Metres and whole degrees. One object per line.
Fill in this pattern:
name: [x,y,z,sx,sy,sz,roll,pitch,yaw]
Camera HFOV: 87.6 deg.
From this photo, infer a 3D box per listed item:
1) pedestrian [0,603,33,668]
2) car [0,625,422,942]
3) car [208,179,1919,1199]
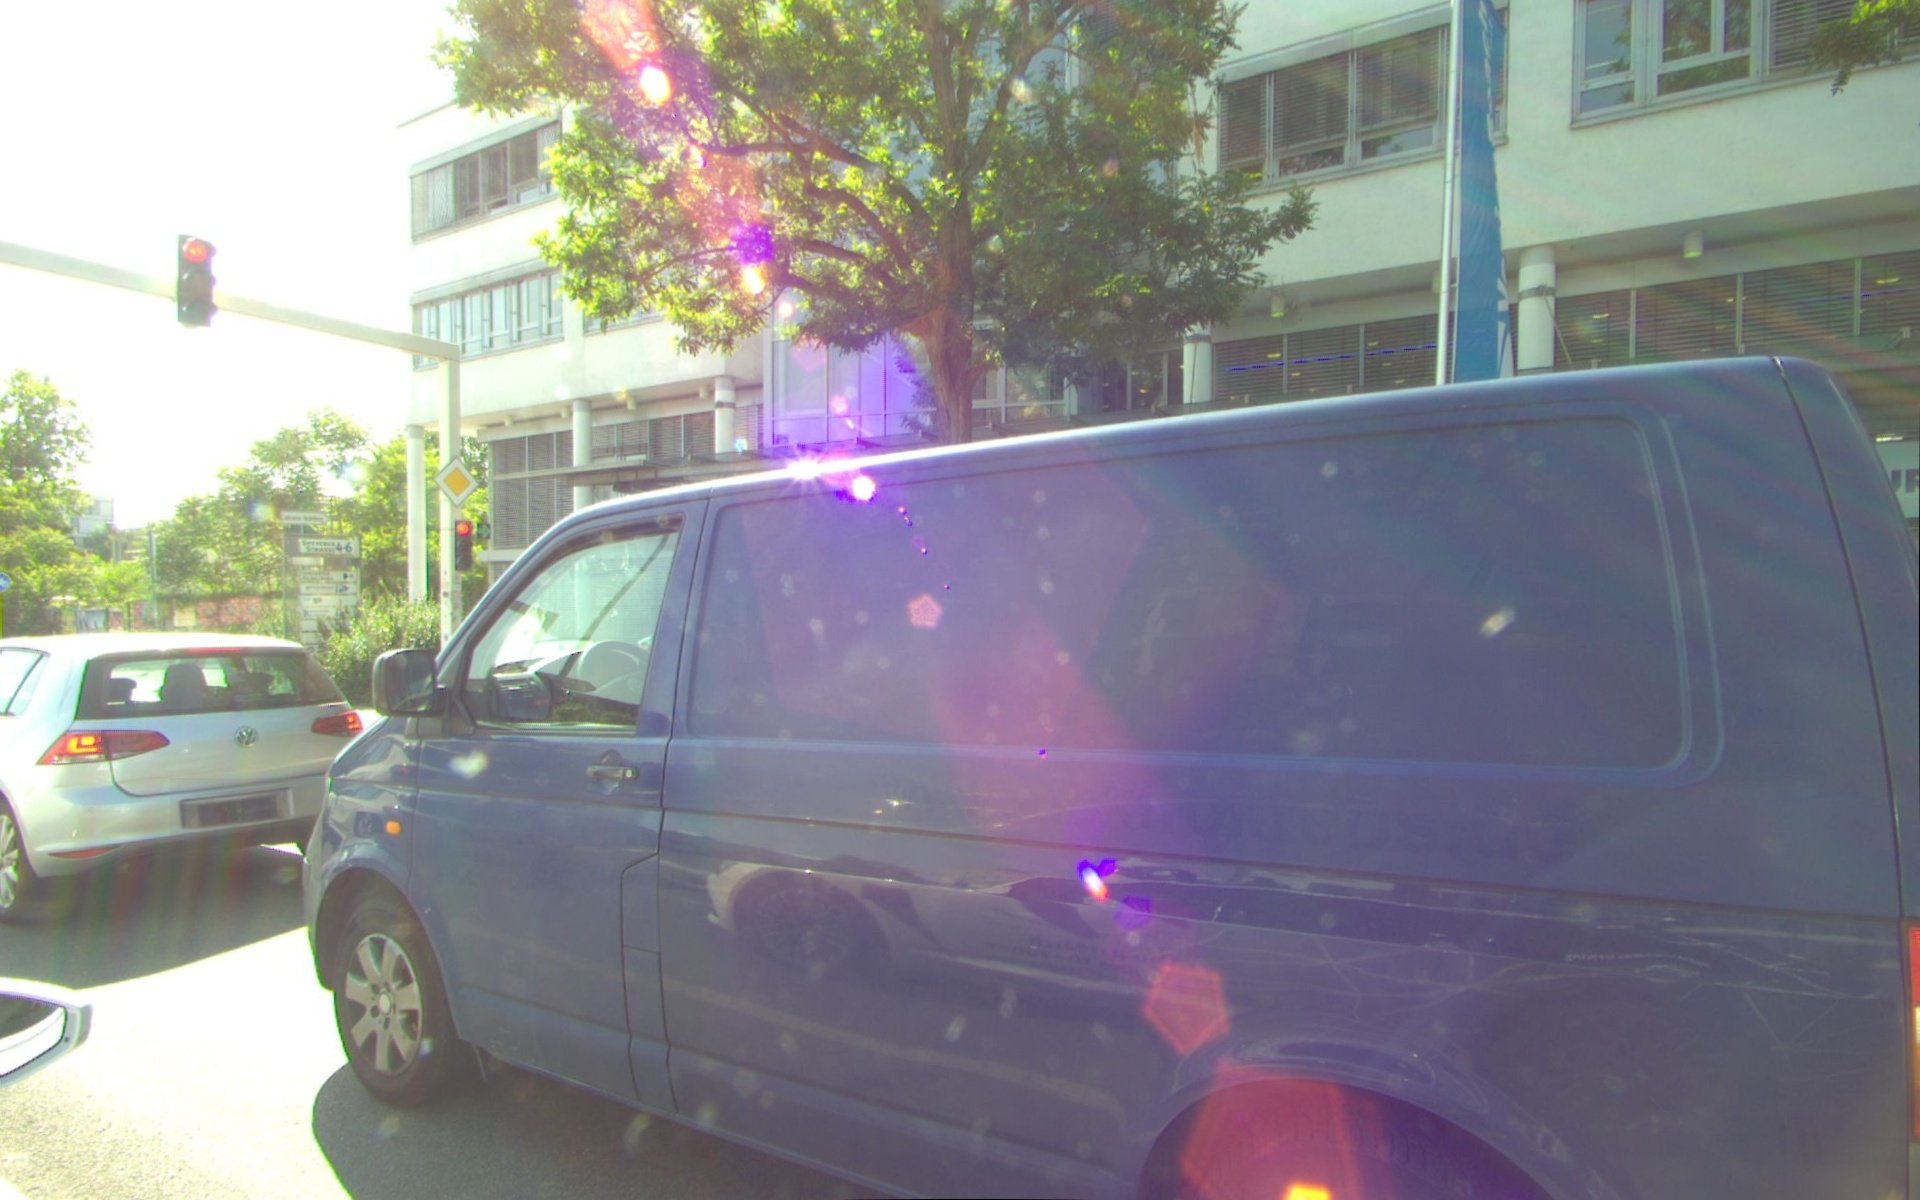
pedestrian: [-30.177,1.110,31.659,1.023,2.040,1.025,0,0,32]
car: [-5.495,0.919,6.478,3.942,1.448,1.804,-1,-1,31]
car: [-0.163,0.538,3.201,4.821,1.973,1.989,-1,-1,32]
